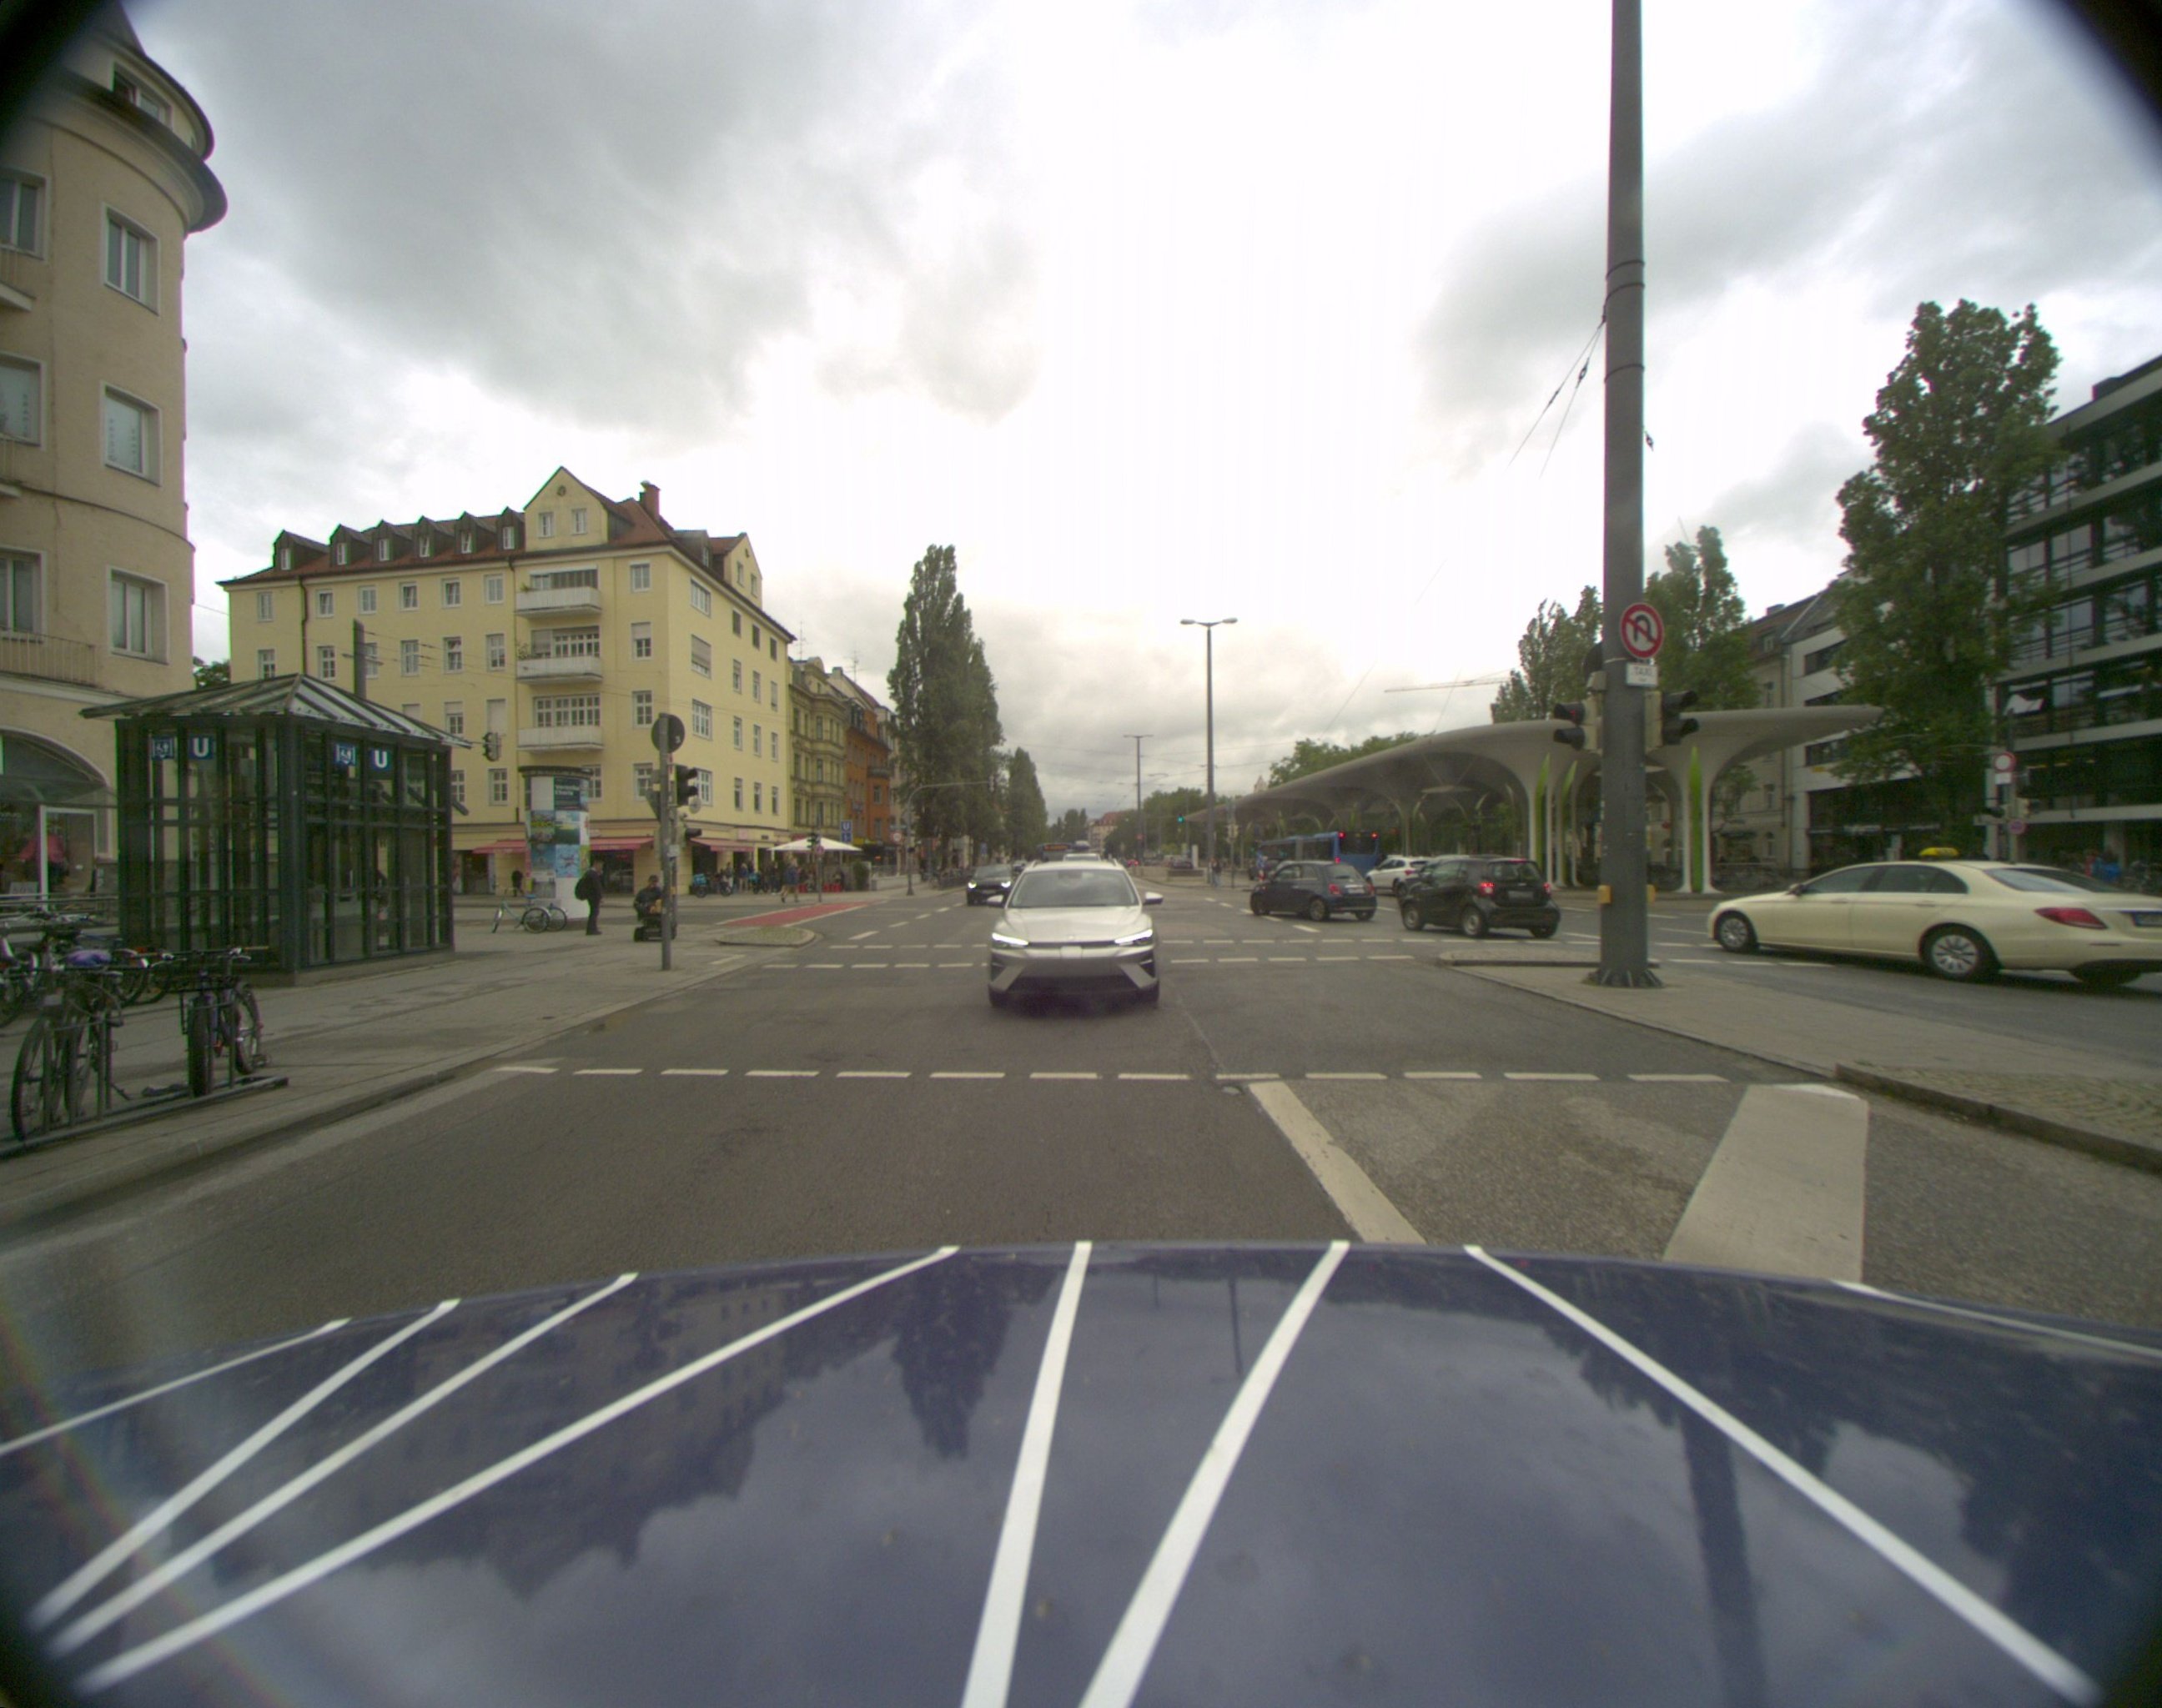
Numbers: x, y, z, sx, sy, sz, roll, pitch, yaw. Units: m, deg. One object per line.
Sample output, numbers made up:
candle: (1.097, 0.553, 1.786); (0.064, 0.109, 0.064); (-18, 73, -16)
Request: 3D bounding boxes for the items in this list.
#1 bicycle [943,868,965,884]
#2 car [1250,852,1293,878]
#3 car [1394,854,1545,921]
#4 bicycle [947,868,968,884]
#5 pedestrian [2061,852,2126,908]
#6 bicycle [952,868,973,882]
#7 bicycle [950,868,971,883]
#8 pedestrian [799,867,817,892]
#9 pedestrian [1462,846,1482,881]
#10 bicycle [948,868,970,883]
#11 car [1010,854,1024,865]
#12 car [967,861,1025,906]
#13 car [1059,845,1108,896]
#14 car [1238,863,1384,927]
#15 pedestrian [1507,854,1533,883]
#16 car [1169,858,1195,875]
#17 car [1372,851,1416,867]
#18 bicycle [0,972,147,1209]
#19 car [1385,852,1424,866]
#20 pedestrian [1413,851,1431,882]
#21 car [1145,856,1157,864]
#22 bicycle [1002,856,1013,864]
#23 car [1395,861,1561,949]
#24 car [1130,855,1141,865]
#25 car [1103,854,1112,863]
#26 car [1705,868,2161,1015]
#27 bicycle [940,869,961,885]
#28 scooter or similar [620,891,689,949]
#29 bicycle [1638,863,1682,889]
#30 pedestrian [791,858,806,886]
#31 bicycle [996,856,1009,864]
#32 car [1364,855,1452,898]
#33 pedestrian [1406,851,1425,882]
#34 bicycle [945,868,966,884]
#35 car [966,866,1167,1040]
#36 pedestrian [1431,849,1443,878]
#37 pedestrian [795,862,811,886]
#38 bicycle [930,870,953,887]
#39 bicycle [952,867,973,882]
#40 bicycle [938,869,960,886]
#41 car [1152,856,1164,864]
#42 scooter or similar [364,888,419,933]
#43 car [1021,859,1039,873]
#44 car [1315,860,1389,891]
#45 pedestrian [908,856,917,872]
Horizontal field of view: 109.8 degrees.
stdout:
bicycle: (-8.317, 1.456, 49.708); (1.836, 0.990, 0.349); (0, 1, 43)
car: (12.297, 0.689, 49.234); (1.787, 1.652, 4.000); (-1, 0, 0)
car: (10.718, 0.842, 21.421); (1.748, 1.660, 4.731); (-1, 0, -1)
bicycle: (-8.333, 1.459, 51.090); (1.836, 0.990, 0.349); (0, 1, 43)
pedestrian: (29.796, 0.752, 22.373); (0.857, 1.632, 0.790); (-1, 0, 4)
bicycle: (-8.309, 1.462, 53.115); (1.836, 0.990, 0.349); (0, 1, 40)
bicycle: (-8.320, 1.461, 52.443); (1.836, 0.990, 0.349); (0, 1, 40)
pedestrian: (-14.827, 1.375, 41.320); (0.679, 1.304, 0.796); (-1, 1, 0)
pedestrian: (20.153, 0.488, 39.159); (0.805, 1.806, 0.706); (-1, 0, 15)
bicycle: (-8.339, 1.461, 51.777); (1.836, 0.990, 0.349); (0, 1, 40)
car: (-9.305, 0.833, 111.261); (1.737, 1.651, 4.502); (0, -1, -1)
car: (-3.232, 1.089, 29.690); (1.780, 1.495, 3.969); (-2, 1, 0)
car: (0.080, 0.681, 33.230); (1.999, 2.100, 4.000); (-1, 0, -1)
car: (5.813, 0.977, 19.578); (1.552, 1.437, 3.531); (-1, 0, -27)
pedestrian: (21.989, 0.711, 38.060); (1.022, 1.444, 0.856); (-1, 0, 36)
car: (9.380, 1.134, 70.792); (1.668, 1.499, 4.281); (1, -1, -2)
car: (39.260, 0.656, 95.382); (4.923, 1.936, 1.872); (-1, 0, 10)
bicycle: (-6.095, 1.318, 4.477); (0.500, 1.022, 1.597); (-1, 0, -42)
car: (39.182, 0.646, 92.110); (3.994, 1.606, 1.832); (-1, 0, 8)
pedestrian: (18.686, 0.684, 41.676); (0.703, 1.700, 0.758); (0, 0, 42)
car: (14.187, 1.254, 154.857); (1.999, 1.561, 4.101); (-1, 0, 0)
bicycle: (-9.312, 0.768, 96.126); (0.360, 1.096, 1.740); (-1, 0, -44)
car: (7.674, 0.918, 14.957); (1.508, 1.525, 2.835); (0, 0, -9)
car: (10.247, 1.039, 142.813); (1.911, 1.829, 3.868); (-1, 0, 0)
car: (6.038, 1.024, 173.301); (1.791, 1.844, 4.217); (0, 0, -3)
car: (10.936, 0.917, 9.941); (1.769, 1.413, 4.639); (0, 0, 1)
bicycle: (-8.429, 1.461, 49.139); (0.349, 0.990, 1.837); (-1, 1, -44)
scooter or similar: (-8.774, 1.336, 15.669); (0.778, 1.069, 1.256); (-1, 0, -5)
bicycle: (26.441, 1.006, 34.757); (0.642, 1.118, 2.167); (-1, 0, 9)
pedestrian: (-16.923, 1.069, 45.549); (0.616, 1.623, 0.677); (-1, 0, 0)
bicycle: (-9.875, 0.765, 95.523); (1.740, 1.096, 0.360); (0, 0, 35)
car: (12.946, 0.847, 30.312); (1.703, 1.586, 4.000); (1, 0, -1)
pedestrian: (18.106, 0.669, 41.079); (0.746, 1.665, 0.633); (0, 1, 44)
bicycle: (-8.331, 1.458, 50.425); (1.836, 0.990, 0.349); (0, 1, 43)
car: (-0.091, 0.949, 9.441); (1.812, 1.496, 4.953); (-1, 0, 1)
pedestrian: (19.445, 0.498, 41.493); (0.519, 1.579, 0.481); (-1, 0, 31)
pedestrian: (-16.413, 1.183, 44.811); (0.677, 1.414, 0.616); (-1, 0, 0)
bicycle: (-8.340, 1.447, 45.397); (1.836, 0.990, 0.349); (0, 1, 44)
bicycle: (-8.408, 1.468, 53.923); (1.836, 0.990, 0.349); (0, 1, 40)
bicycle: (-8.308, 1.452, 47.633); (1.836, 0.990, 0.349); (0, 1, 44)
car: (14.602, 1.144, 144.736); (1.864, 1.517, 4.232); (0, 0, 0)
scooter or similar: (-15.548, 1.260, 17.150); (0.820, 0.988, 0.594); (-1, -3, 22)
car: (-5.767, 1.364, 86.623); (1.780, 1.515, 3.969); (-1, 1, 0)
car: (13.226, 1.027, 37.375); (1.999, 1.403, 4.167); (-1, 0, -2)
pedestrian: (-18.718, 1.126, 84.524); (0.748, 1.704, 1.017); (-1, 0, 0)
